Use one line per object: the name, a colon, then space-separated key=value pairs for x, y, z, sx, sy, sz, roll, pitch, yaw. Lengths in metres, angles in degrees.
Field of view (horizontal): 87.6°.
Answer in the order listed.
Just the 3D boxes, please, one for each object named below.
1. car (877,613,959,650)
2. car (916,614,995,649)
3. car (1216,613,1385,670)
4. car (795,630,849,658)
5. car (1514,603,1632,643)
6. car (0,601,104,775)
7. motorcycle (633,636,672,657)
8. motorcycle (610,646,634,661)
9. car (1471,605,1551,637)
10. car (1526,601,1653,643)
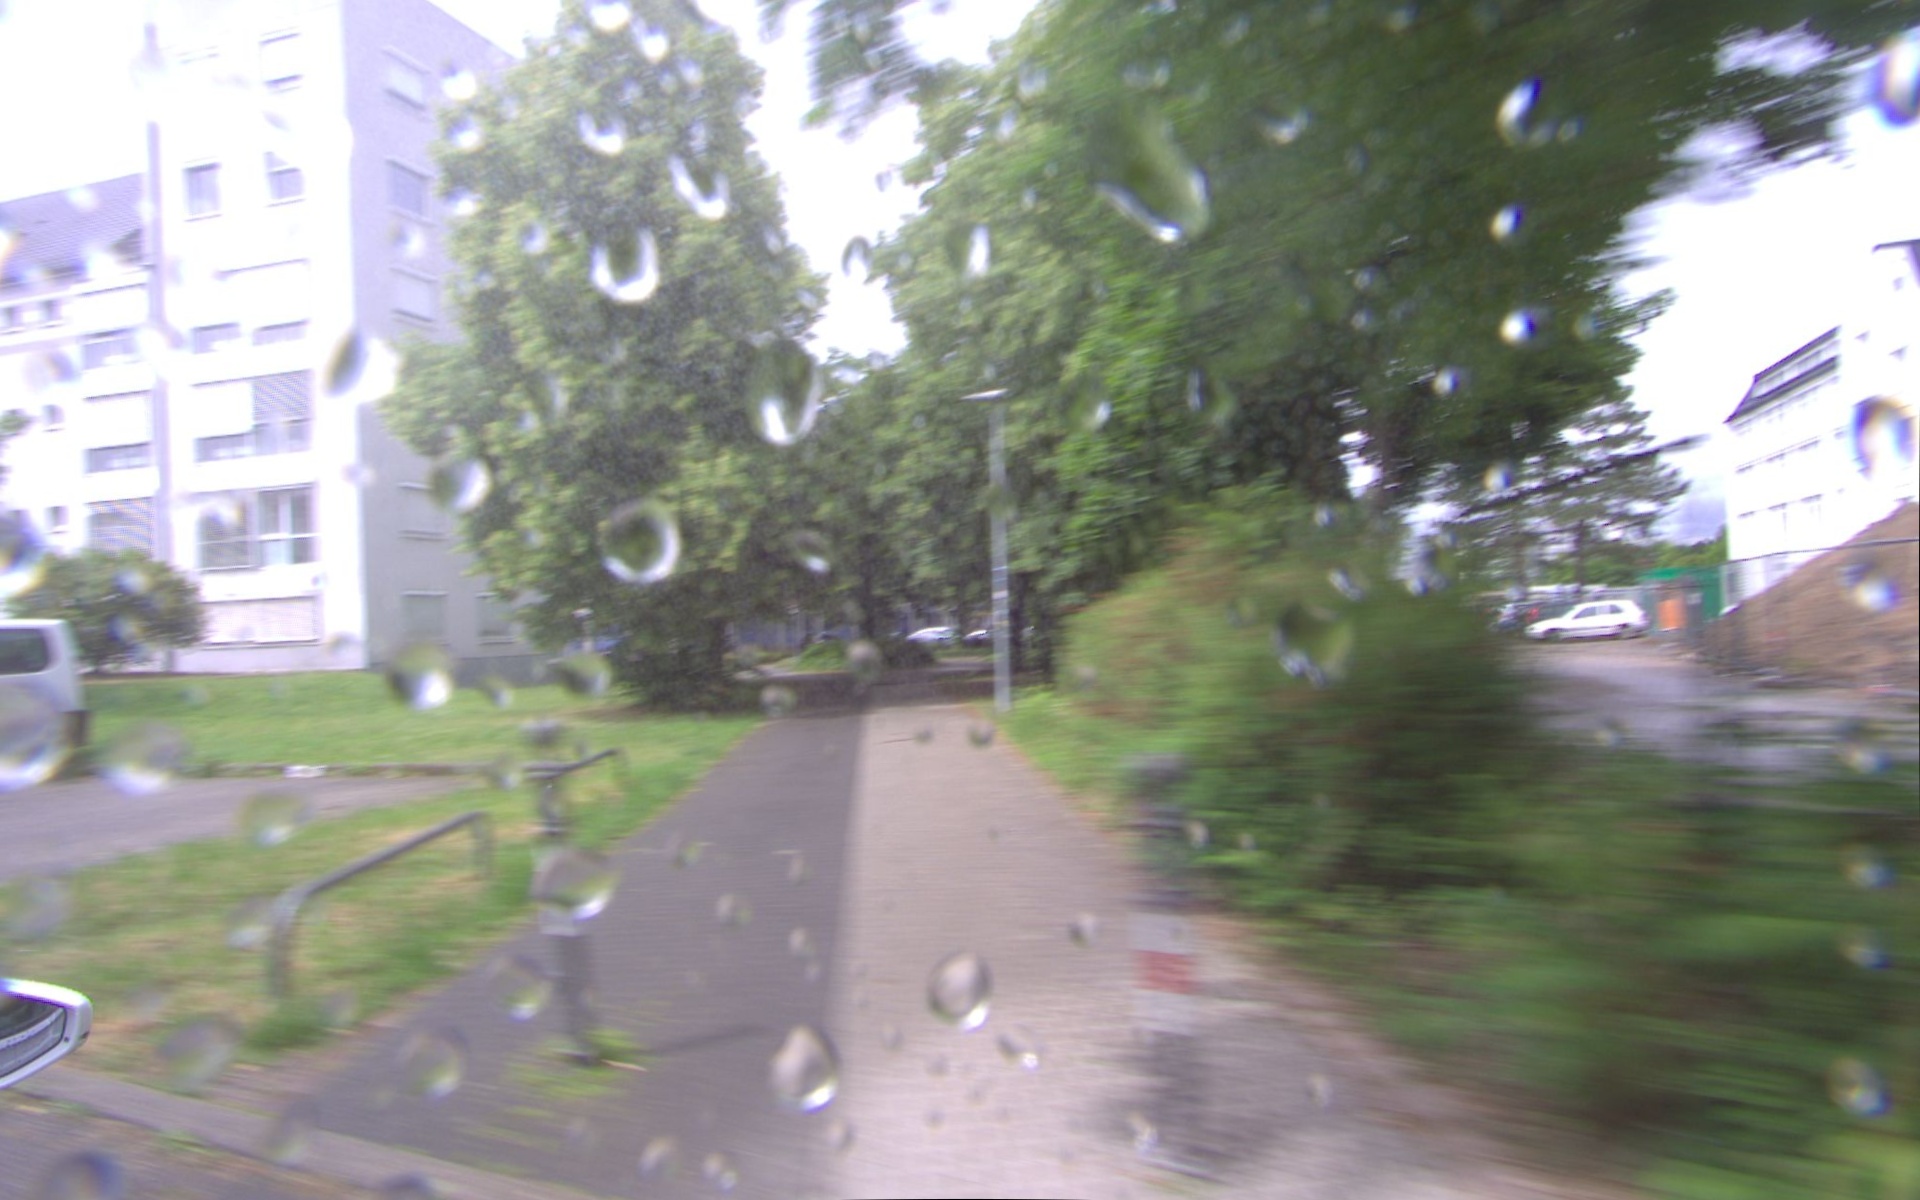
car: x=-2.409 y=1.854 z=57.813 sx=4.305 sy=2.039 sz=1.997 roll=-1 pitch=-2 yaw=21
car: x=-0.259 y=1.895 z=59.652 sx=4.305 sy=2.039 sz=1.997 roll=-1 pitch=-2 yaw=21
car: x=8.871 y=1.105 z=26.430 sx=3.971 sy=1.426 sz=1.982 roll=-1 pitch=-3 yaw=11
car: x=-8.770 y=2.817 z=64.099 sx=1.754 sy=1.730 sz=3.976 roll=-1 pitch=-3 yaw=20
car: x=24.142 y=0.931 z=39.593 sx=3.670 sy=1.393 sz=1.836 roll=-3 pitch=-3 yaw=22
car: x=-12.752 y=1.032 z=10.849 sx=1.968 sy=2.039 sz=4.939 roll=-2 pitch=-2 yaw=24
motorcycle: x=-17.358 y=2.622 z=56.545 sx=2.127 sy=1.157 sz=0.415 roll=0 pitch=-2 yaw=-15
motorcycle: x=-17.537 y=2.773 z=51.983 sx=0.325 sy=0.780 sz=1.442 roll=-1 pitch=-3 yaw=20
car: x=31.031 y=1.203 z=56.527 sx=3.670 sy=1.620 sz=1.836 roll=-3 pitch=-3 yaw=22
car: x=23.247 y=0.855 z=37.155 sx=3.670 sy=1.393 sz=1.836 roll=-3 pitch=-3 yaw=22
